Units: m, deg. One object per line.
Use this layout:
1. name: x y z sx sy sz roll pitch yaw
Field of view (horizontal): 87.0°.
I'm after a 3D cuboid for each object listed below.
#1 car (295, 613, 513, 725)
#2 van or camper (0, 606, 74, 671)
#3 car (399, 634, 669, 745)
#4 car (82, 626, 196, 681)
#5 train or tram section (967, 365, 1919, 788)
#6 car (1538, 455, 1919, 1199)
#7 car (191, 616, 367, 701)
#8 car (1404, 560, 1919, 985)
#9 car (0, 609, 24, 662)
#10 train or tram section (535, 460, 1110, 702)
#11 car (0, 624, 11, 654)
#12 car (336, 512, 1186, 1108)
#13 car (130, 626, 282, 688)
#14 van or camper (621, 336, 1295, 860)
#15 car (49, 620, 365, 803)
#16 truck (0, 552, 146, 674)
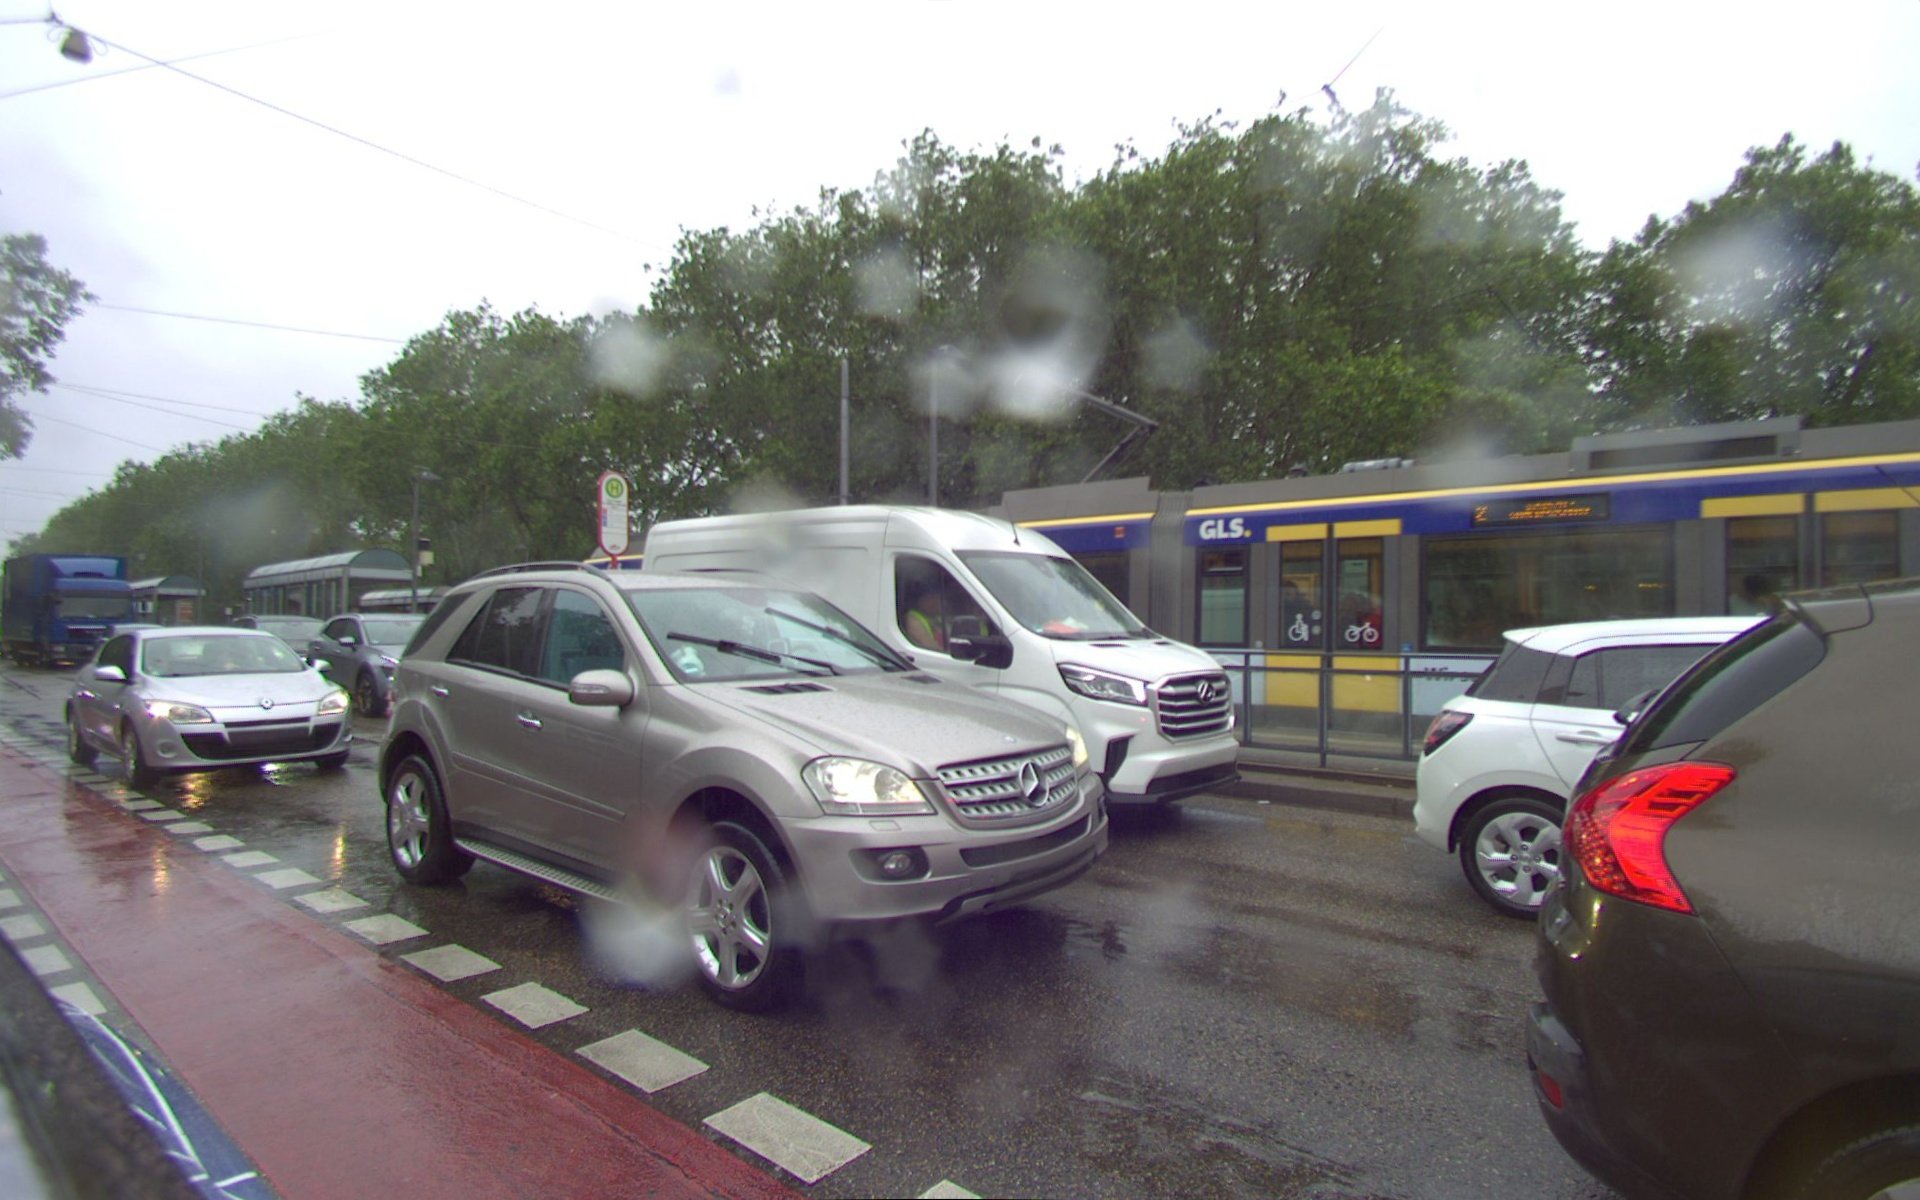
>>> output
1. car: -9.468 1.074 17.081 4.454 1.636 1.894 -1 -2 43
2. van or camper: -40.044 1.610 43.566 6.428 2.590 1.973 -1 0 41
3. car: -5.459 1.022 12.725 4.084 1.126 1.448 -1 -1 40
4. car: -24.480 1.540 30.135 4.074 1.498 1.871 -1 -2 40
5. train or tram section: 7.121 -0.176 11.109 15.495 3.439 3.504 -1 0 41
6. car: 3.275 0.590 1.247 4.170 1.681 1.815 -1 -1 41
7. car: -14.655 1.179 21.692 4.316 1.633 1.974 -1 -2 40
8. car: 4.245 0.681 4.529 3.834 1.641 1.628 -1 -2 41
9. car: -46.922 1.704 48.969 5.727 2.445 1.972 -1 0 43
10. train or tram section: -3.702 -0.201 20.617 13.652 3.539 3.476 -1 0 41
11. car: -52.354 2.082 54.089 3.998 1.589 1.973 -1 -1 41
12. car: -1.320 0.662 5.257 4.459 1.783 2.004 -1 -1 40
13. car: -18.836 1.375 25.219 4.602 1.405 1.973 -1 -3 40
14. van or camper: -0.357 0.048 8.803 5.846 3.166 2.136 -1 -2 40
15. car: -7.813 0.968 10.374 3.998 1.489 1.750 -1 -1 40
16. truck: -32.214 0.540 36.403 9.803 3.919 2.513 -1 -3 40
